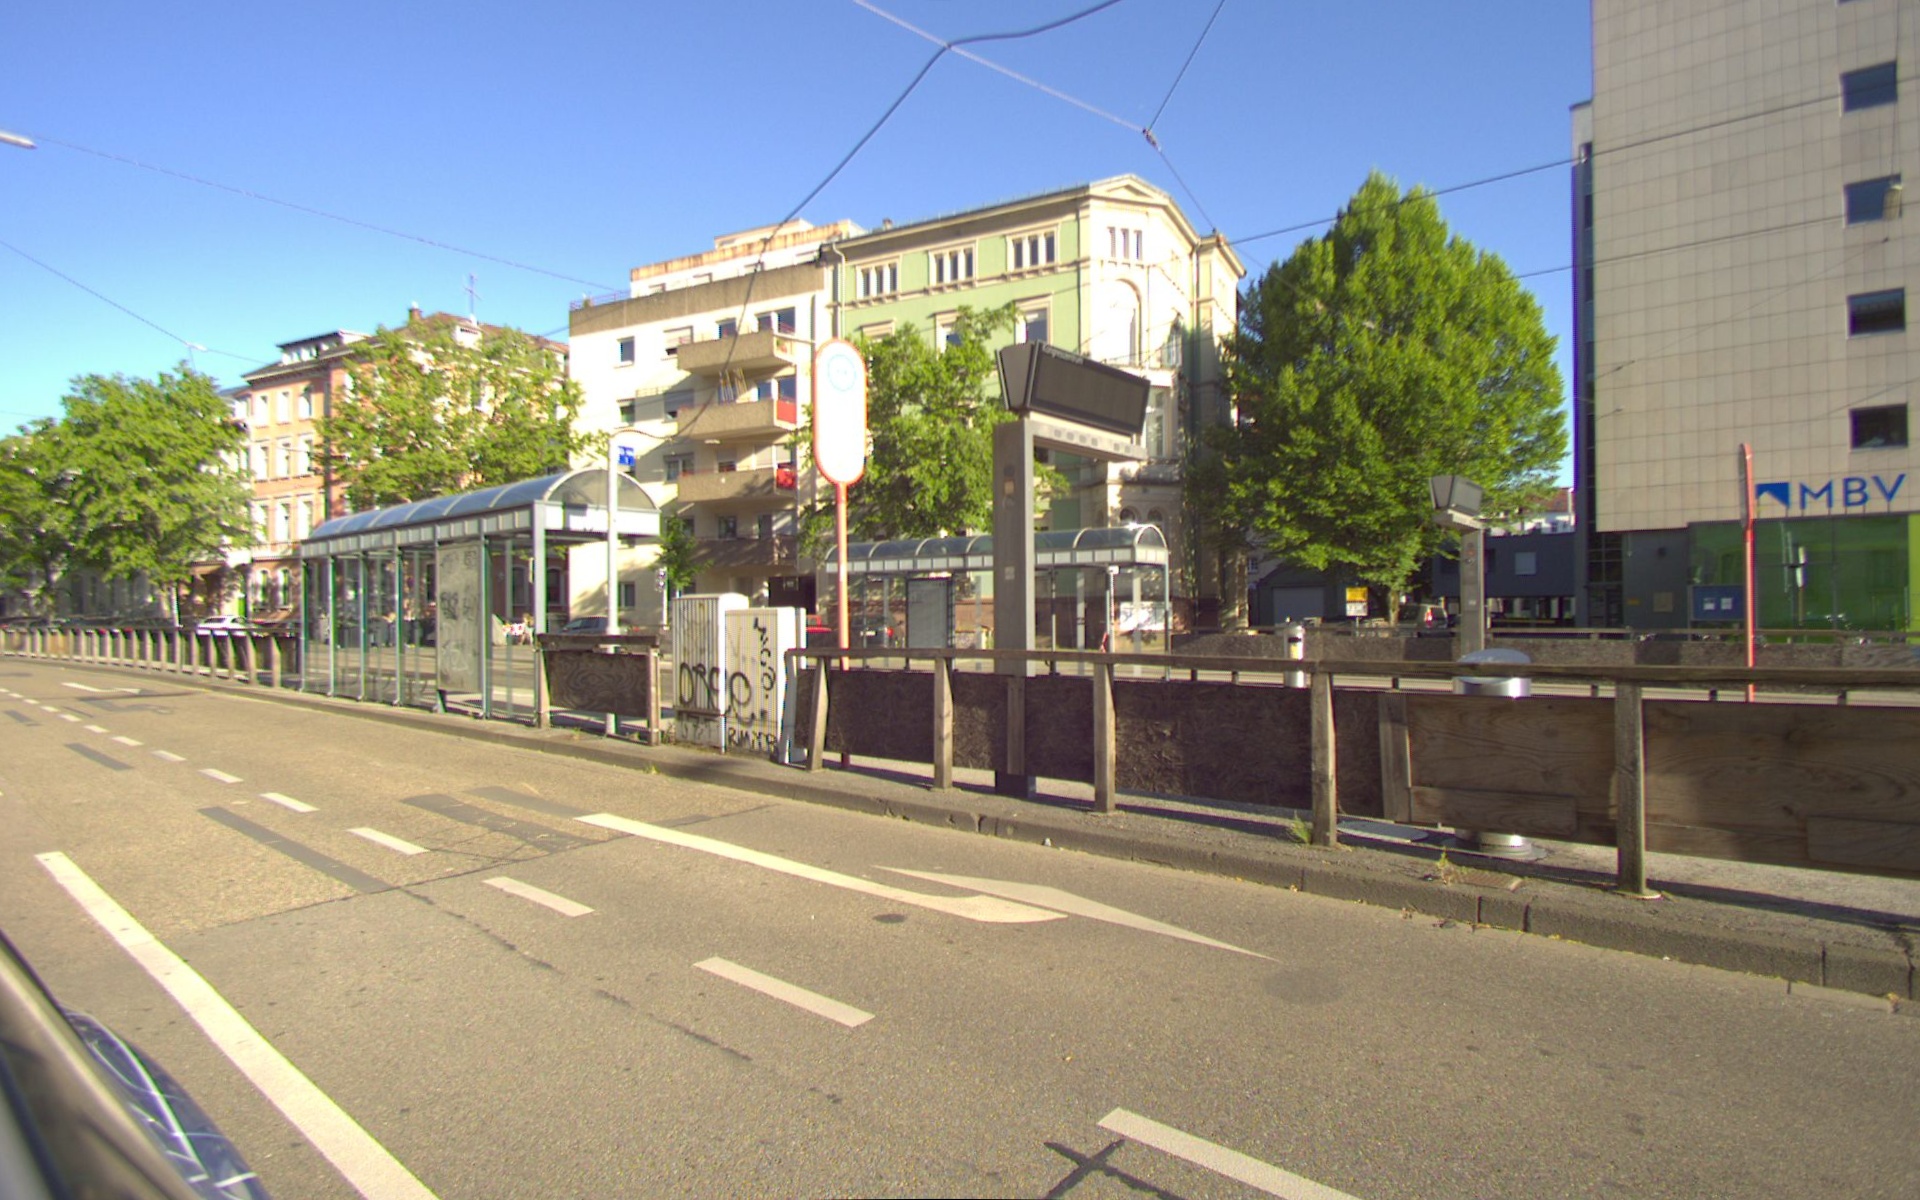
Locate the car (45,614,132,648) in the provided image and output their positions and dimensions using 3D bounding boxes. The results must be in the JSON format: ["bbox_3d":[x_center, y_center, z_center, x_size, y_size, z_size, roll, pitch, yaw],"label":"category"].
[{"bbox_3d":[-52.251,1.849,60.767,1.682,1.735,4.291,0,2,-4],"label":"car"}]

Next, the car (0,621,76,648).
[{"bbox_3d":[-58.394,2.179,63.939,1.745,1.496,3.823,0,1,-1],"label":"car"}]

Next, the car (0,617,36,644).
[{"bbox_3d":[-63.357,2.045,66.545,1.748,1.666,3.872,0,1,-1],"label":"car"}]

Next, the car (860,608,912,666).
[{"bbox_3d":[-2.446,1.147,33.044,1.566,1.654,4.521,0,1,-5],"label":"car"}]

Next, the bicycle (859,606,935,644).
[{"bbox_3d":[-2.452,0.971,39.330,2.995,1.409,0.713,-1,-1,27],"label":"bicycle"}]

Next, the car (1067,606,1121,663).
[{"bbox_3d":[4.233,1.011,31.782,1.572,1.581,4.504,0,1,8],"label":"car"}]

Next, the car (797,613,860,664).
[{"bbox_3d":[-4.246,1.209,33.282,1.845,1.436,4.521,0,1,-5],"label":"car"}]

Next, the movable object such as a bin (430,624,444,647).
[{"bbox_3d":[-25.033,1.702,48.465,0.551,1.105,0.376,1,0,34],"label":"movable object such as a bin"}]

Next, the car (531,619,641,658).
[{"bbox_3d":[-14.313,1.444,38.657,4.278,1.421,1.693,-1,-1,32],"label":"car"}]

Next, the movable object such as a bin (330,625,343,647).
[{"bbox_3d":[-29.663,1.709,48.153,0.639,1.076,0.375,-1,-1,40],"label":"movable object such as a bin"}]

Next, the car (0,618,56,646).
[{"bbox_3d":[-60.783,2.052,65.154,1.748,1.666,3.871,0,1,-1],"label":"car"}]

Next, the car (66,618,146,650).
[{"bbox_3d":[-49.440,1.934,58.699,1.609,1.629,3.993,-1,1,-7],"label":"car"}]

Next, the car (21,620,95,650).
[{"bbox_3d":[-55.596,2.140,62.449,1.682,1.544,3.284,-1,2,-3],"label":"car"}]

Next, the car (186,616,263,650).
[{"bbox_3d":[-39.469,1.736,54.421,1.708,1.533,3.924,-2,1,-9],"label":"car"}]

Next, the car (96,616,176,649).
[{"bbox_3d":[-46.867,1.813,57.651,1.609,1.629,3.993,-1,1,-7],"label":"car"}]

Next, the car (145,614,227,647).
[{"bbox_3d":[-42.489,1.642,55.649,1.664,1.519,3.926,-2,1,-3],"label":"car"}]

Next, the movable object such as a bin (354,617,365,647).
[{"bbox_3d":[-28.603,1.519,48.206,0.385,1.437,0.375,-1,-1,40],"label":"movable object such as a bin"}]
